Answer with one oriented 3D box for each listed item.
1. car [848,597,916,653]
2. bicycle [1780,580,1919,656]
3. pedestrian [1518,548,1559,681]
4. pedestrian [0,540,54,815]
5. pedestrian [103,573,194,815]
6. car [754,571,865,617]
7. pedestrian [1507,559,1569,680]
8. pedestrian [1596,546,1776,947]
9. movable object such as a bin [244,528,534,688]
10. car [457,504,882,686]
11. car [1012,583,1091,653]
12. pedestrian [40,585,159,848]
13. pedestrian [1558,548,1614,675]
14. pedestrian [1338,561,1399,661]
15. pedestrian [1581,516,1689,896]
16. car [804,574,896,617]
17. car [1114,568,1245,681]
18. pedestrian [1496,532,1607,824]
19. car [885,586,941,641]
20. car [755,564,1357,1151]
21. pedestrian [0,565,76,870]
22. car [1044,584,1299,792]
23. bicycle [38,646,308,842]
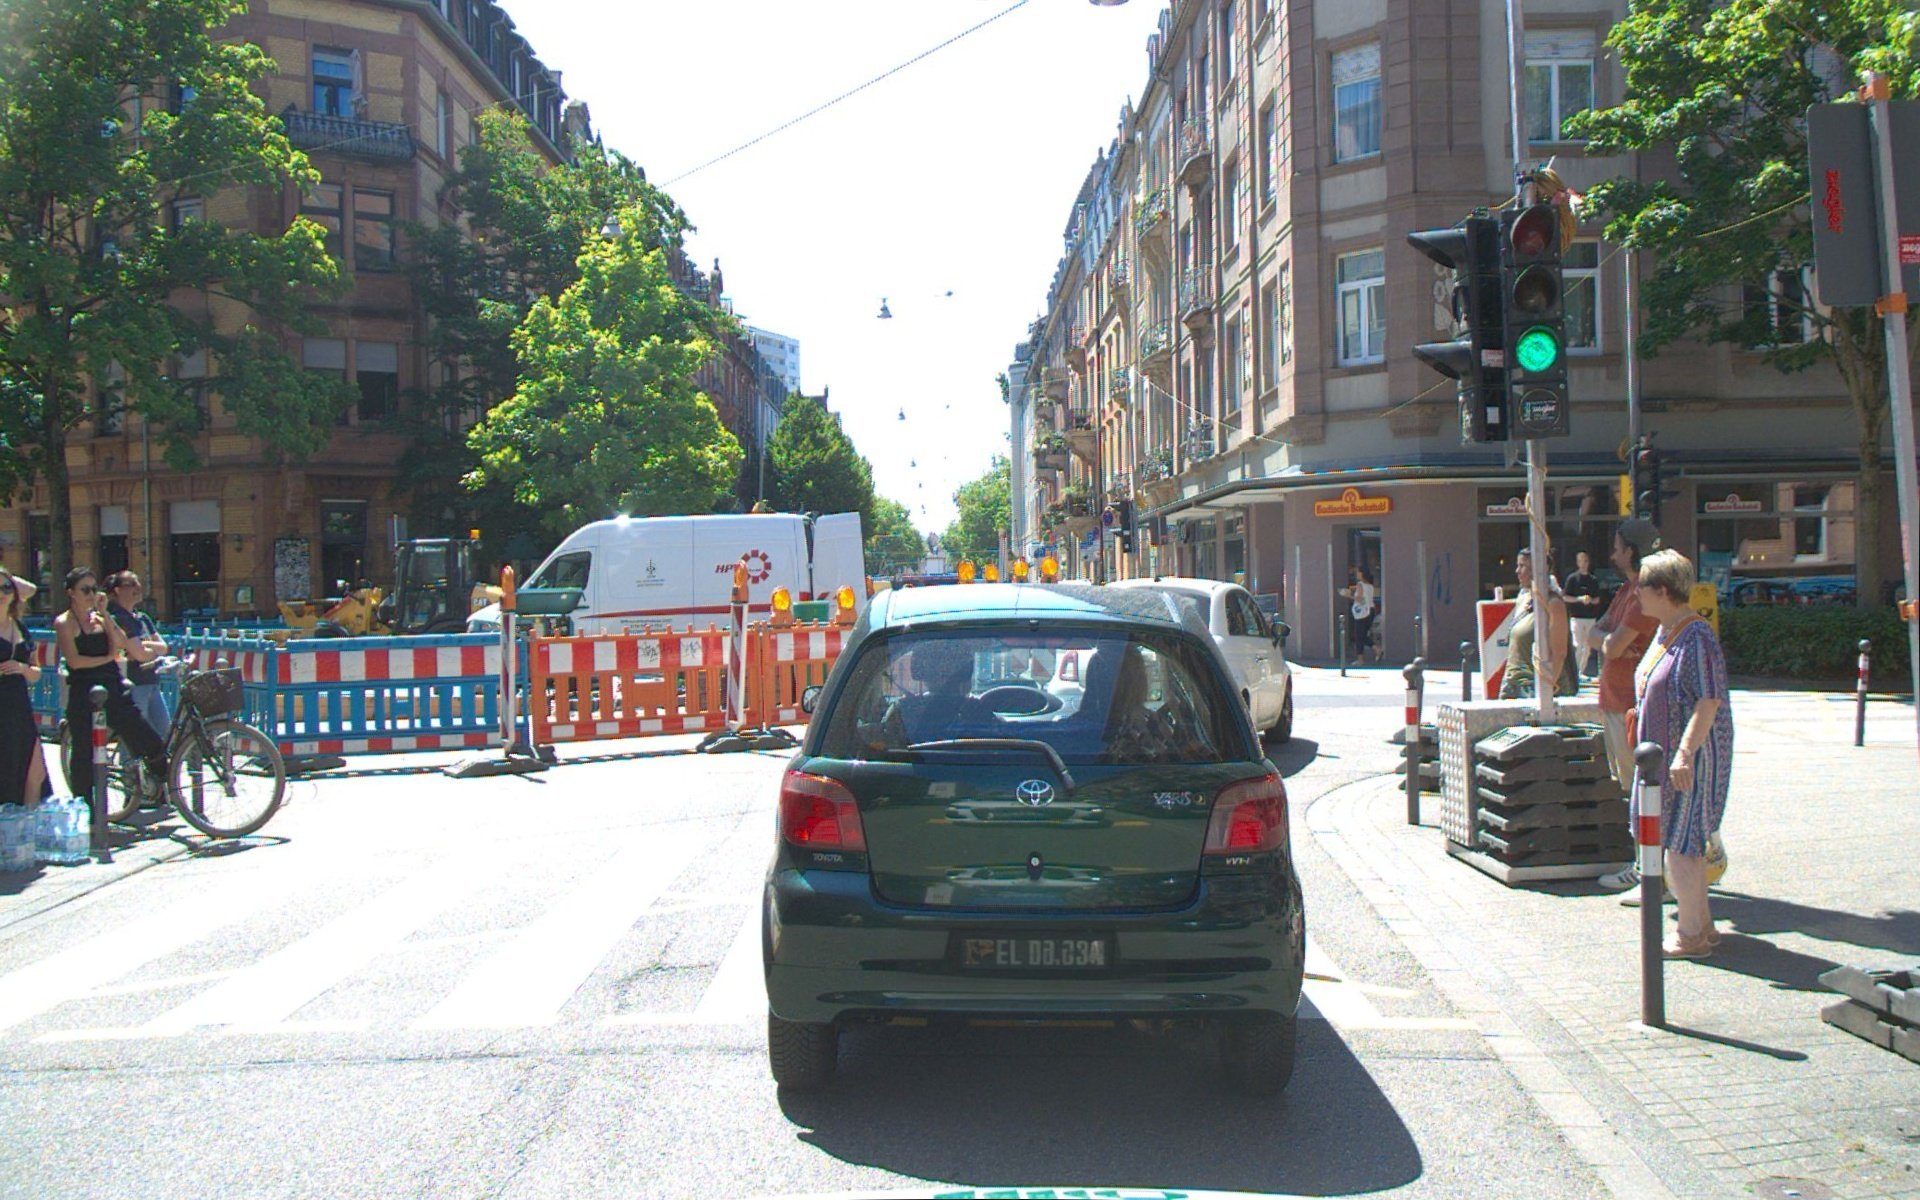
[{"bbox_3d":[-2.175,0.679,46.935,1.719,1.469,3.999,-2,0,-1],"label":"car"},{"bbox_3d":[14.161,0.284,26.297,1.938,1.152,0.517,-1,0,17],"label":"bicycle"},{"bbox_3d":[7.829,0.193,22.411,0.467,1.763,0.872,-1,-1,18],"label":"pedestrian"},{"bbox_3d":[-6.677,0.525,11.411,0.499,1.851,0.599,-1,0,-3],"label":"pedestrian"},{"bbox_3d":[-5.646,0.639,11.516,0.382,1.646,0.475,-1,0,-3],"label":"pedestrian"},{"bbox_3d":[-6.949,-0.279,76.463,4.723,2.029,2.033,-1,0,-30],"label":"car"},{"bbox_3d":[8.366,0.276,23.957,0.688,1.673,0.422,-4,4,-9],"label":"pedestrian"},{"bbox_3d":[2.963,0.582,6.783,0.482,1.570,0.437,-3,0,5],"label":"pedestrian"},{"bbox_3d":[-10.047,0.141,29.384,4.452,2.705,1.954,0,0,-3],"label":"movable object such as a bin"},{"bbox_3d":[-4.605,-0.078,27.058,6.485,2.799,2.380,0,0,0],"label":"car"},{"bbox_3d":[2.134,0.369,37.659,1.593,1.457,3.663,-2,0,6],"label":"car"},{"bbox_3d":[-5.396,0.708,10.376,0.486,1.593,0.459,1,1,25],"label":"pedestrian"},{"bbox_3d":[9.127,0.160,24.122,0.564,1.799,0.471,-4,4,-9],"label":"pedestrian"},{"bbox_3d":[6.881,0.186,27.885,0.788,1.652,0.640,-1,0,37],"label":"pedestrian"},{"bbox_3d":[3.113,0.478,7.641,0.325,1.705,0.402,-1,0,5],"label":"pedestrian"},{"bbox_3d":[-5.900,-0.241,88.858,4.506,2.226,1.982,-1,0,-28],"label":"car"},{"bbox_3d":[3.362,0.339,25.818,1.492,1.620,3.263,-1,1,-2],"label":"car"},{"bbox_3d":[3.307,0.428,9.278,0.450,1.587,0.479,-1,0,5],"label":"pedestrian"},{"bbox_3d":[-1.569,0.428,56.616,1.719,1.673,4.377,-4,0,-1],"label":"car"},{"bbox_3d":[0.325,0.650,5.990,1.580,1.511,3.242,0,2,2],"label":"car"},{"bbox_3d":[-5.376,0.645,9.287,0.530,1.661,0.511,-1,0,-3],"label":"pedestrian"},{"bbox_3d":[1.933,0.670,14.357,1.491,1.547,3.265,-1,1,20],"label":"car"},{"bbox_3d":[-5.044,0.889,10.585,1.767,1.139,0.468,1,1,21],"label":"bicycle"}]
